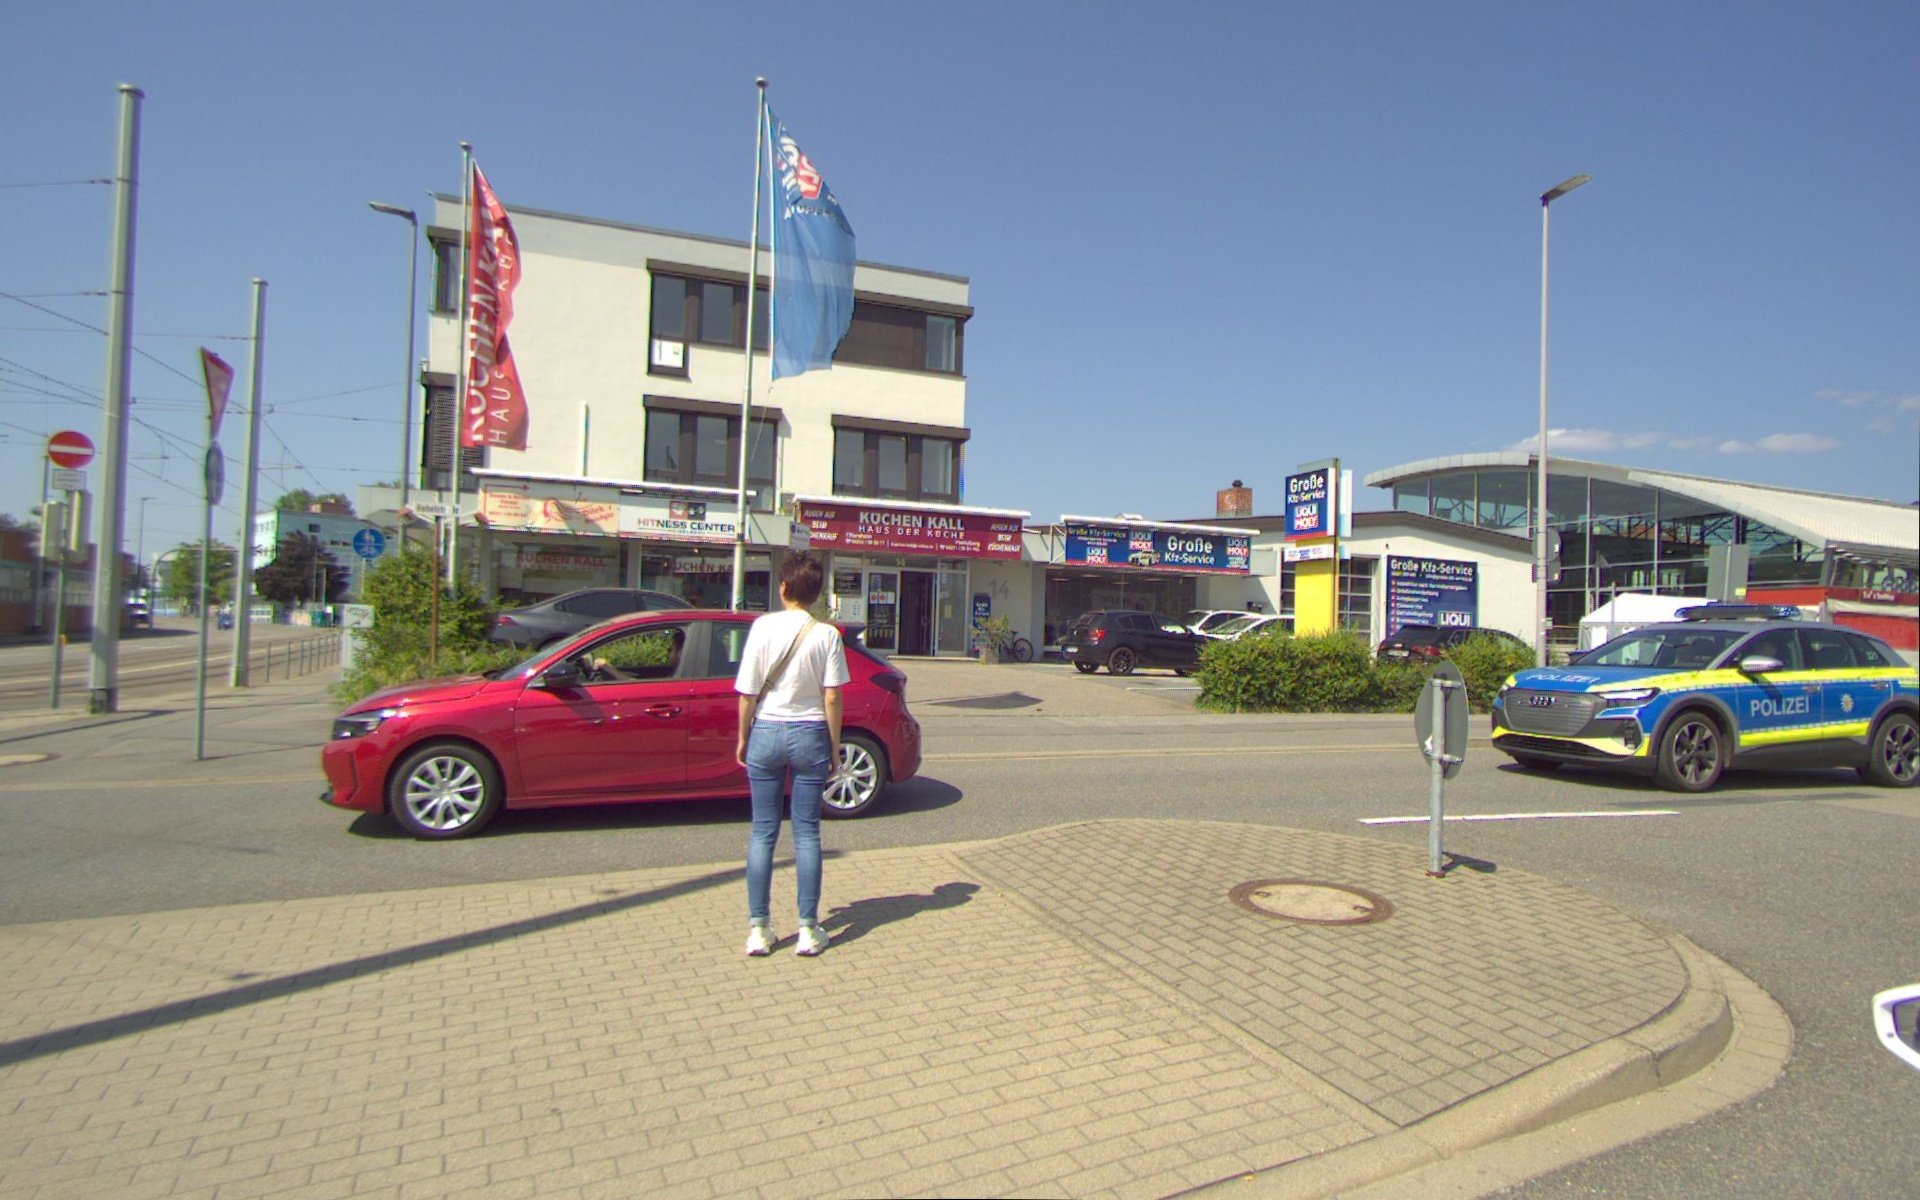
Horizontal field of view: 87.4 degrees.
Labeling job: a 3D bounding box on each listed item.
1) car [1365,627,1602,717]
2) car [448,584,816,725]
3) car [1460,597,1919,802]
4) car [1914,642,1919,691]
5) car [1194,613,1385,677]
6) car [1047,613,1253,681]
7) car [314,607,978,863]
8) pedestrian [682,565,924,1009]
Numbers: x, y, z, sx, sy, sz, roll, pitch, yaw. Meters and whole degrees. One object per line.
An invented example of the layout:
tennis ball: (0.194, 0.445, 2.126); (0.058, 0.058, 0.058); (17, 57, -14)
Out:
car: (10.313, 1.384, 19.865); (3.937, 1.639, 1.992); (1, -2, -18)
car: (-5.051, 0.862, 15.989); (5.197, 1.991, 1.958); (1, -2, -18)
car: (7.636, 0.933, 10.307); (4.379, 1.783, 1.908); (1, -2, -17)
car: (33.876, 2.265, 34.201); (3.634, 1.605, 1.730); (3, -3, -42)
car: (8.907, 1.267, 27.127); (4.857, 1.609, 1.877); (2, -4, -22)
car: (4.342, 1.084, 23.002); (4.255, 1.445, 2.022); (1, -2, -23)
car: (-2.089, 0.839, 7.363); (4.079, 1.483, 1.840); (1, -2, -19)
pedestrian: (-0.652, 0.719, 4.288); (0.747, 1.678, 0.672); (0, -2, 28)
